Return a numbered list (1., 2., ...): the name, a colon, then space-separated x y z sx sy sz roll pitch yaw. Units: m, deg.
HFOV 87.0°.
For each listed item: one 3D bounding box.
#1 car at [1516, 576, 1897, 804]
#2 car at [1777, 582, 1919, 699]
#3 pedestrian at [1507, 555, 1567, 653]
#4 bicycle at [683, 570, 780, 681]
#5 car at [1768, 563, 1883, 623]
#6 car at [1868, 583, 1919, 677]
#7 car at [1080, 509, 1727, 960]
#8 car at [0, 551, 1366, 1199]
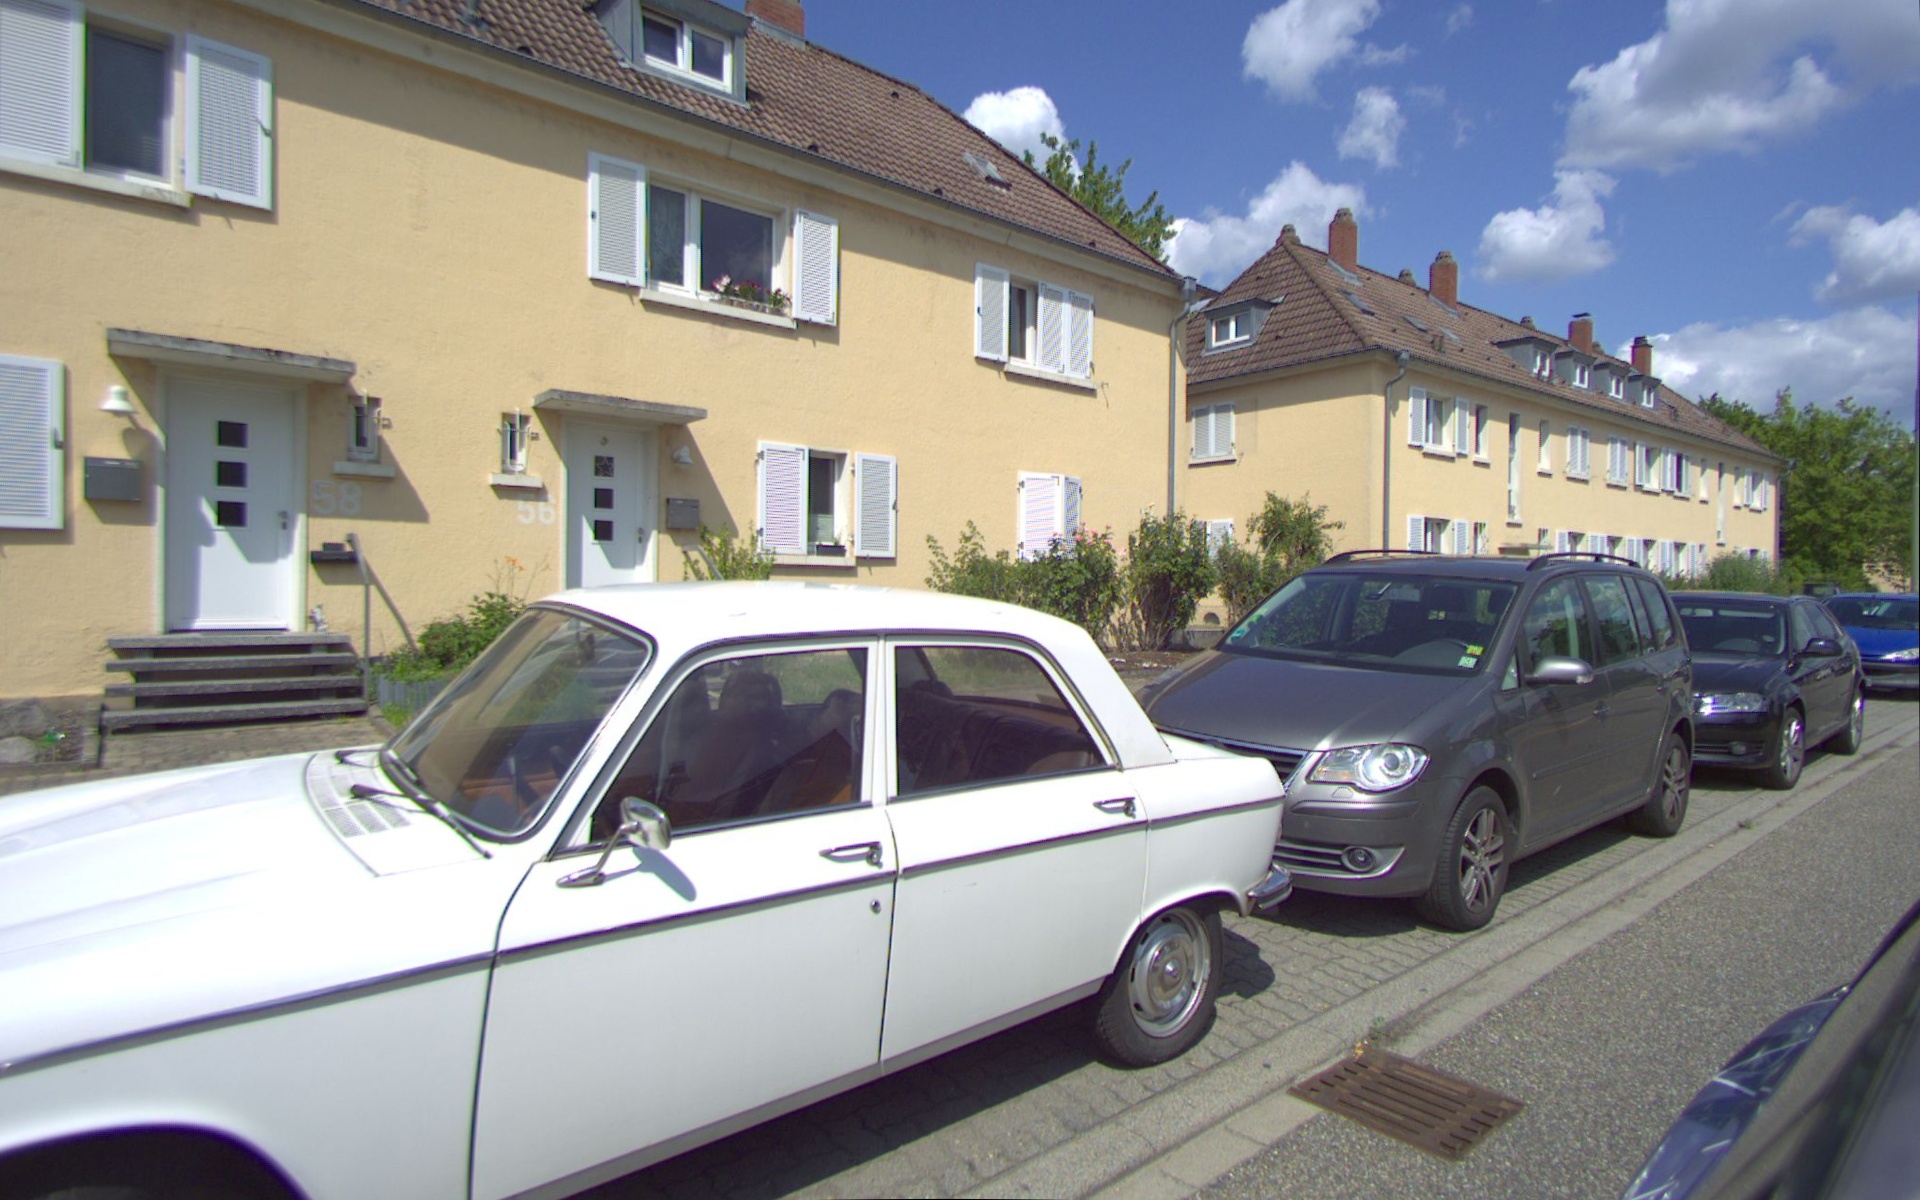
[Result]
1. car: 6.693 0.555 8.882 4.437 1.454 1.689 -2 3 -40
2. car: 13.560 0.494 14.825 3.829 1.446 1.702 -1 3 -39
3. pedestrian: 10.051 0.054 17.624 0.885 1.659 0.617 -1 2 -39
4. bicycle: -2.493 0.252 10.914 0.285 1.116 1.693 0 0 -39
5. car: 27.332 -0.247 31.916 3.972 1.768 1.928 0 1 -37
6. car: 17.500 0.473 17.693 4.545 1.507 1.756 -1 2 -40
7. car: 2.726 0.442 5.706 4.196 1.650 1.682 -1 2 -40
8. car: -0.644 0.612 2.902 3.953 1.436 1.653 -1 2 -39
